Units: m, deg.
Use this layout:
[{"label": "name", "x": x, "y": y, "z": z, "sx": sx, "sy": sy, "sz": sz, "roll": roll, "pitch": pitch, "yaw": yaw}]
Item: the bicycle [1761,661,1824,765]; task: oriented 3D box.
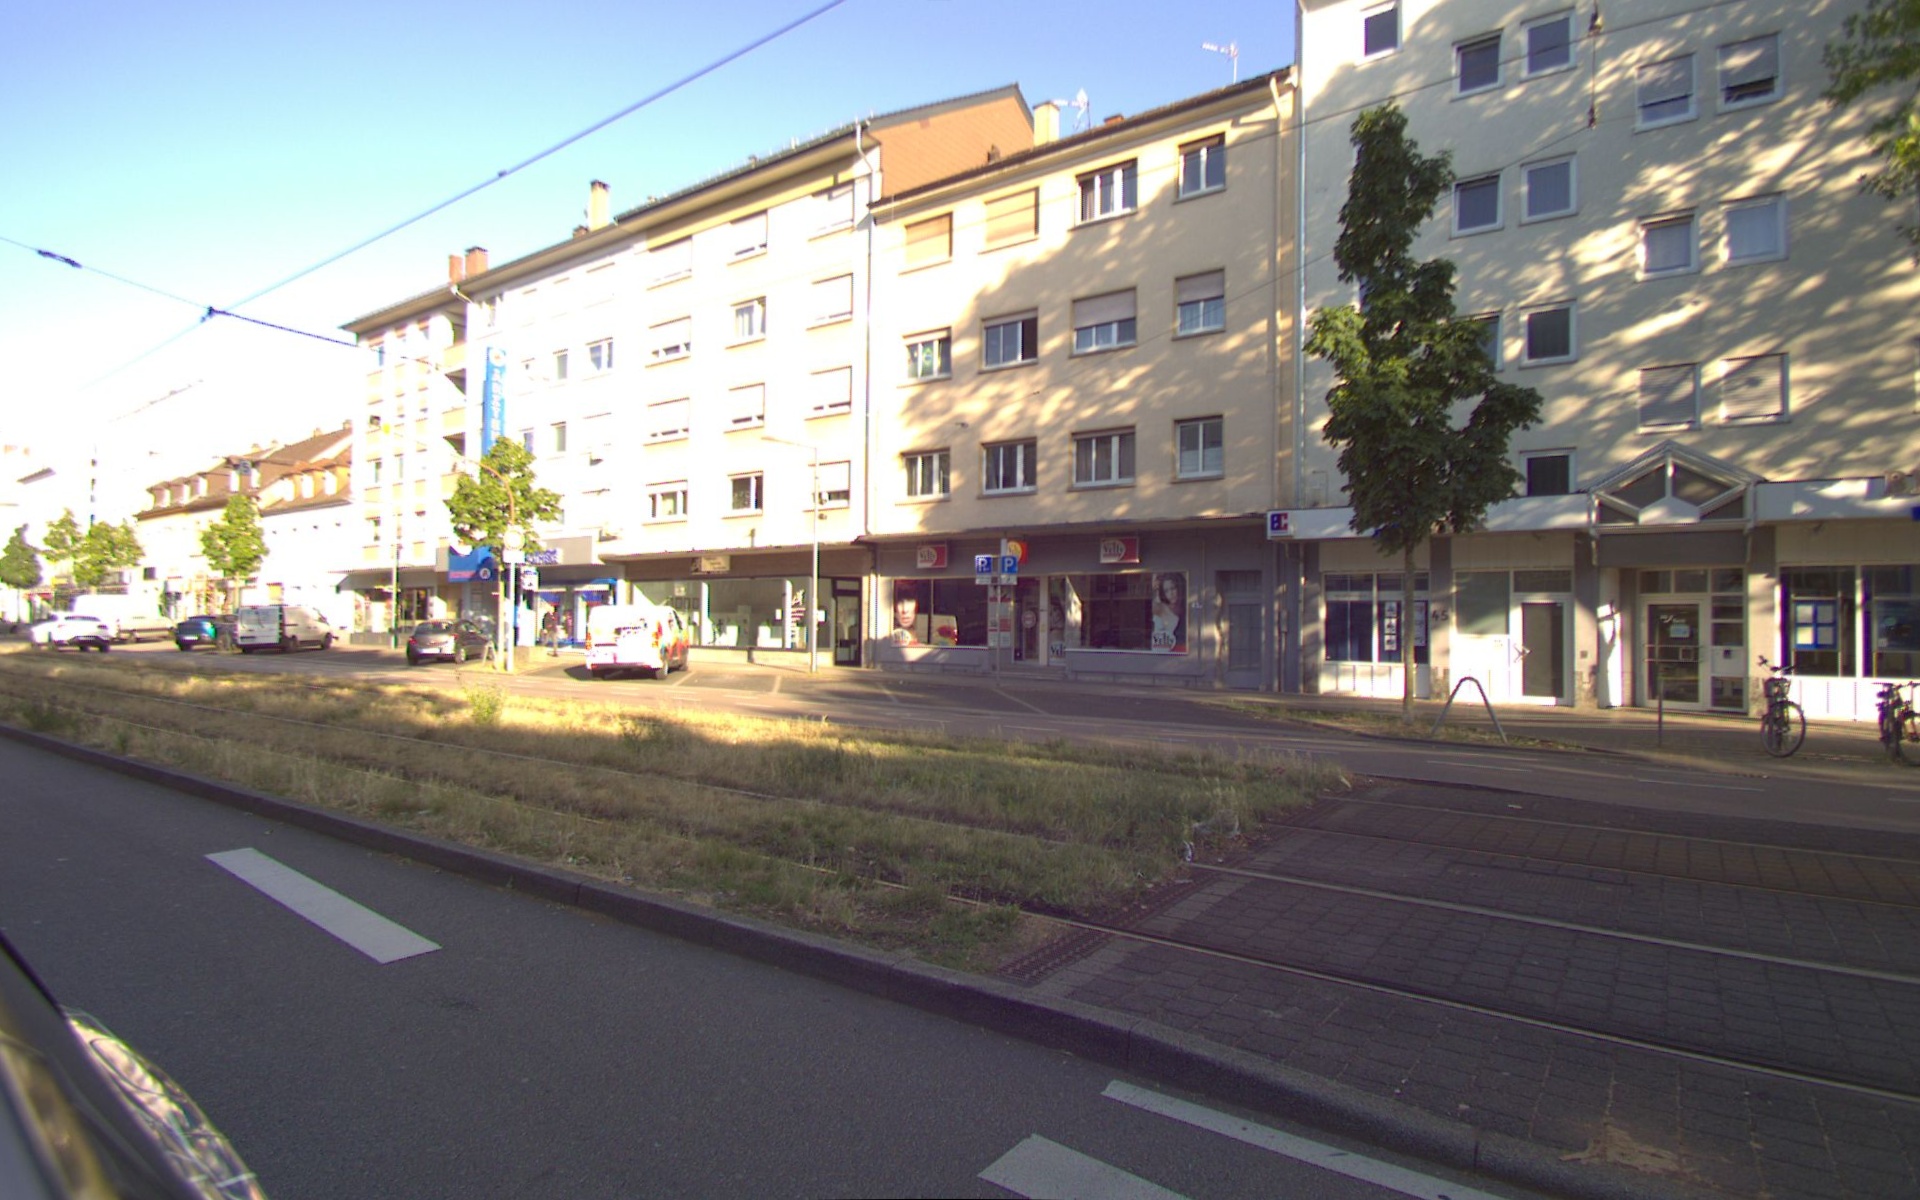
[{"label": "bicycle", "x": 10.504, "y": 1.383, "z": 12.801, "sx": 0.511, "sy": 1.147, "sz": 1.724, "roll": -1, "pitch": -1, "yaw": 36}]

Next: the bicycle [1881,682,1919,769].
[{"label": "bicycle", "x": 11.538, "y": 1.495, "z": 12.180, "sx": 0.471, "sy": 0.895, "sz": 1.724, "roll": -1, "pitch": -1, "yaw": 36}]

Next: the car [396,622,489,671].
[{"label": "car", "x": -17.340, "y": 1.510, "z": 34.112, "sx": 1.708, "sy": 1.508, "sz": 4.009, "roll": 0, "pitch": 0, "yaw": -10}]

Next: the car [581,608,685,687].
[{"label": "car", "x": -8.602, "y": 1.178, "z": 26.934, "sx": 1.830, "sy": 1.913, "sz": 4.005, "roll": 0, "pitch": 0, "yaw": -6}]

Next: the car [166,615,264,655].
[{"label": "car", "x": -34.091, "y": 1.563, "z": 46.453, "sx": 1.830, "sy": 1.727, "sz": 3.919, "roll": 0, "pitch": 0, "yaw": -5}]

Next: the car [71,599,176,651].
[{"label": "car", "x": -45.239, "y": 1.283, "z": 54.961, "sx": 1.895, "sy": 2.634, "sz": 6.608, "roll": 0, "pitch": 0, "yaw": -16}]

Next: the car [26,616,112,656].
[{"label": "car", "x": -36.637, "y": 1.447, "z": 41.570, "sx": 4.444, "sy": 1.592, "sz": 1.823, "roll": -1, "pitch": -2, "yaw": 38}]

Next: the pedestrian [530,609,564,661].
[{"label": "pedestrian", "x": -14.619, "y": 1.226, "z": 35.819, "sx": 0.916, "sy": 1.841, "sz": 0.748, "roll": -1, "pitch": -1, "yaw": 39}]

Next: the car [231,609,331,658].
[{"label": "car", "x": -28.416, "y": 1.354, "z": 42.507, "sx": 1.828, "sy": 1.952, "sz": 4.514, "roll": 0, "pitch": 0, "yaw": -10}]
